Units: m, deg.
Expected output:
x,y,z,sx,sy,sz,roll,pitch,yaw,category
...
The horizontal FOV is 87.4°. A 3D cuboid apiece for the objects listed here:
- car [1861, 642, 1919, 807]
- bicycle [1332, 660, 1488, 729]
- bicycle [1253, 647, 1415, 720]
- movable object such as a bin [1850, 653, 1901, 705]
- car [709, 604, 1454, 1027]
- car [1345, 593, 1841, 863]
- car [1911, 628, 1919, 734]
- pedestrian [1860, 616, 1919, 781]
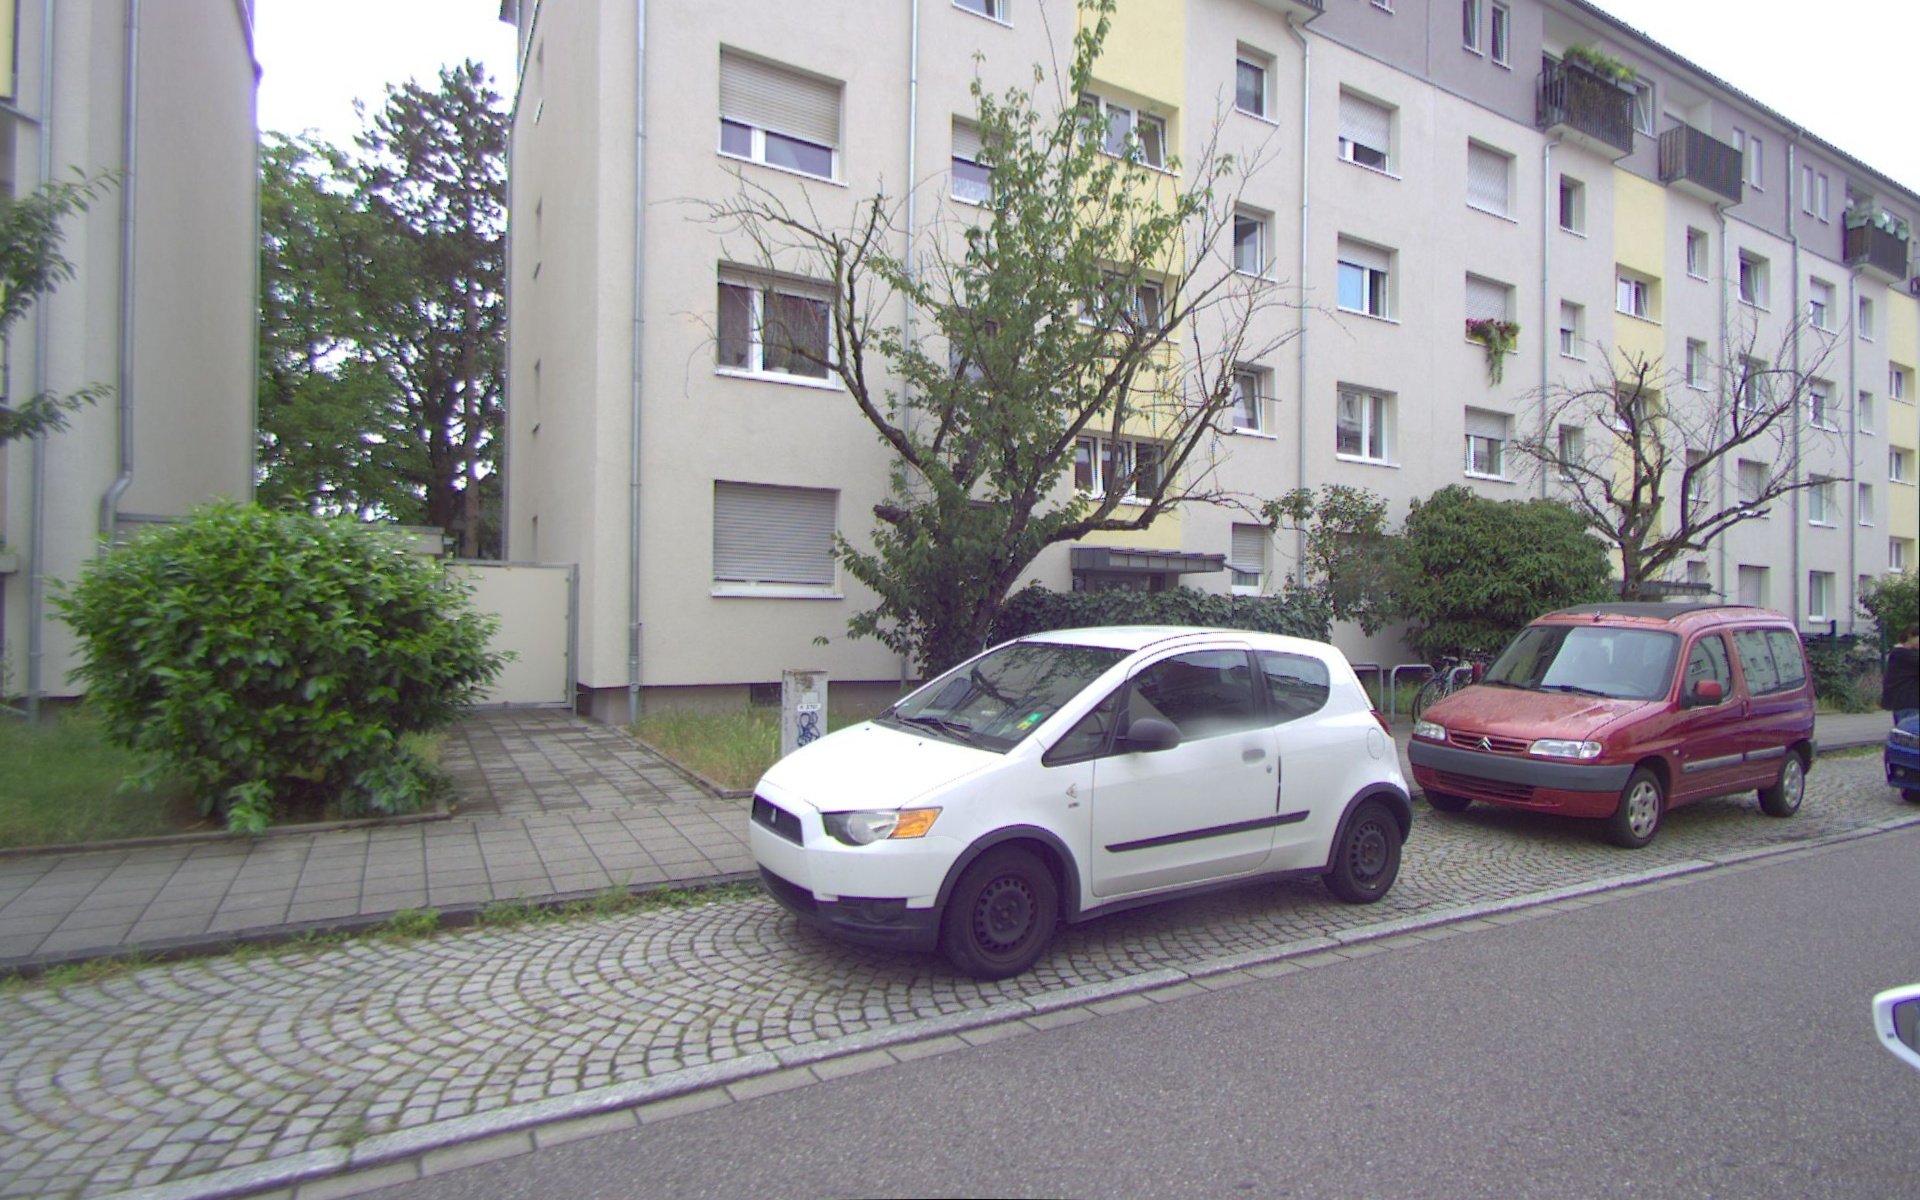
x,y,z,sx,sy,sz,roll,pitch,yaw,category
10.821,1.169,9.670,4.445,1.470,1.837,1,-1,-29,car
6.398,1.303,14.199,2.725,0.859,0.568,1,-2,-31,bicycle
5.678,1.224,15.164,2.725,1.012,0.773,1,-2,-31,bicycle
17.443,1.495,19.145,0.628,0.967,0.548,1,-2,-30,movable object such as a bin
0.748,0.874,5.571,3.824,1.591,1.712,1,1,-30,car
5.536,0.893,8.659,4.313,1.794,1.946,1,0,-32,car
15.516,1.161,14.406,3.741,1.484,1.736,1,-2,-30,car
10.278,1.048,10.896,0.733,1.724,0.791,-1,-2,43,pedestrian
